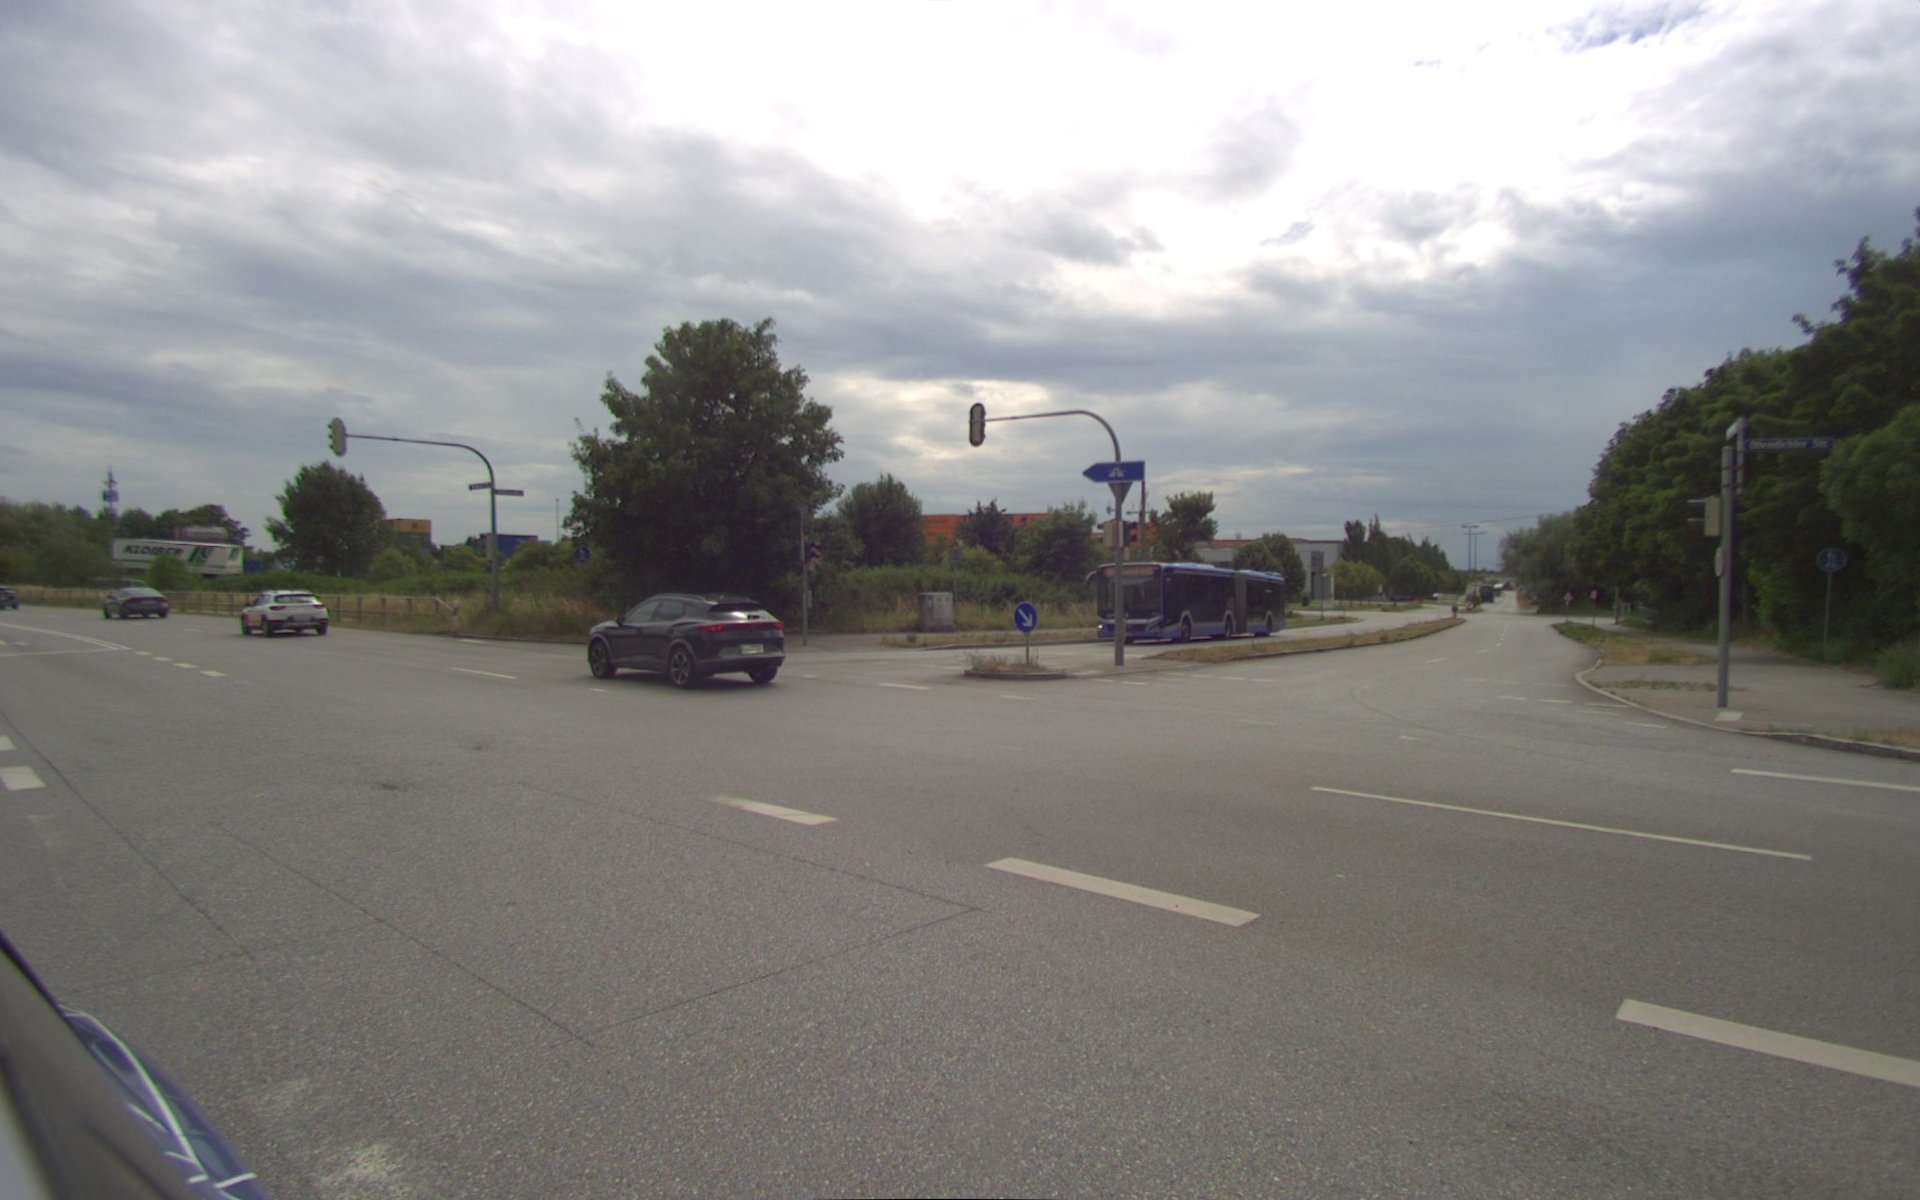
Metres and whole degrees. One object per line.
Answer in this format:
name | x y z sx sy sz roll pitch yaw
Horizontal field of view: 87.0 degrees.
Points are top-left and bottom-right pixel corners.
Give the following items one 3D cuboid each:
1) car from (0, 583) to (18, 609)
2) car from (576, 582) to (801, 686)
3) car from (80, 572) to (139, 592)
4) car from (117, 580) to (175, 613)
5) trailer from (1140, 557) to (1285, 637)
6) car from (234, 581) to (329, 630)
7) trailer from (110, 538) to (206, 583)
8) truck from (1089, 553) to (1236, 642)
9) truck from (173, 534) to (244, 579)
car | -62.729 -0.269 65.480 3.991 1.585 1.776 1 1 35
car | -4.768 0.489 17.503 4.201 1.595 1.744 1 1 41
car | -87.332 -1.867 103.946 4.472 1.889 2.005 -2 3 -37
car | -40.812 -0.221 50.704 1.768 1.541 4.906 -2 2 -45
trailer | 11.198 -0.146 43.805 2.878 3.060 10.637 -1 0 32
car | -22.854 0.152 34.039 4.346 1.516 1.710 1 1 43
trailer | -91.889 -4.538 116.027 8.864 5.033 2.806 0 3 3
truck | 7.904 -0.110 38.660 2.878 3.060 7.854 -1 0 32
truck | -85.856 -4.957 115.702 6.107 5.033 2.803 0 3 3
